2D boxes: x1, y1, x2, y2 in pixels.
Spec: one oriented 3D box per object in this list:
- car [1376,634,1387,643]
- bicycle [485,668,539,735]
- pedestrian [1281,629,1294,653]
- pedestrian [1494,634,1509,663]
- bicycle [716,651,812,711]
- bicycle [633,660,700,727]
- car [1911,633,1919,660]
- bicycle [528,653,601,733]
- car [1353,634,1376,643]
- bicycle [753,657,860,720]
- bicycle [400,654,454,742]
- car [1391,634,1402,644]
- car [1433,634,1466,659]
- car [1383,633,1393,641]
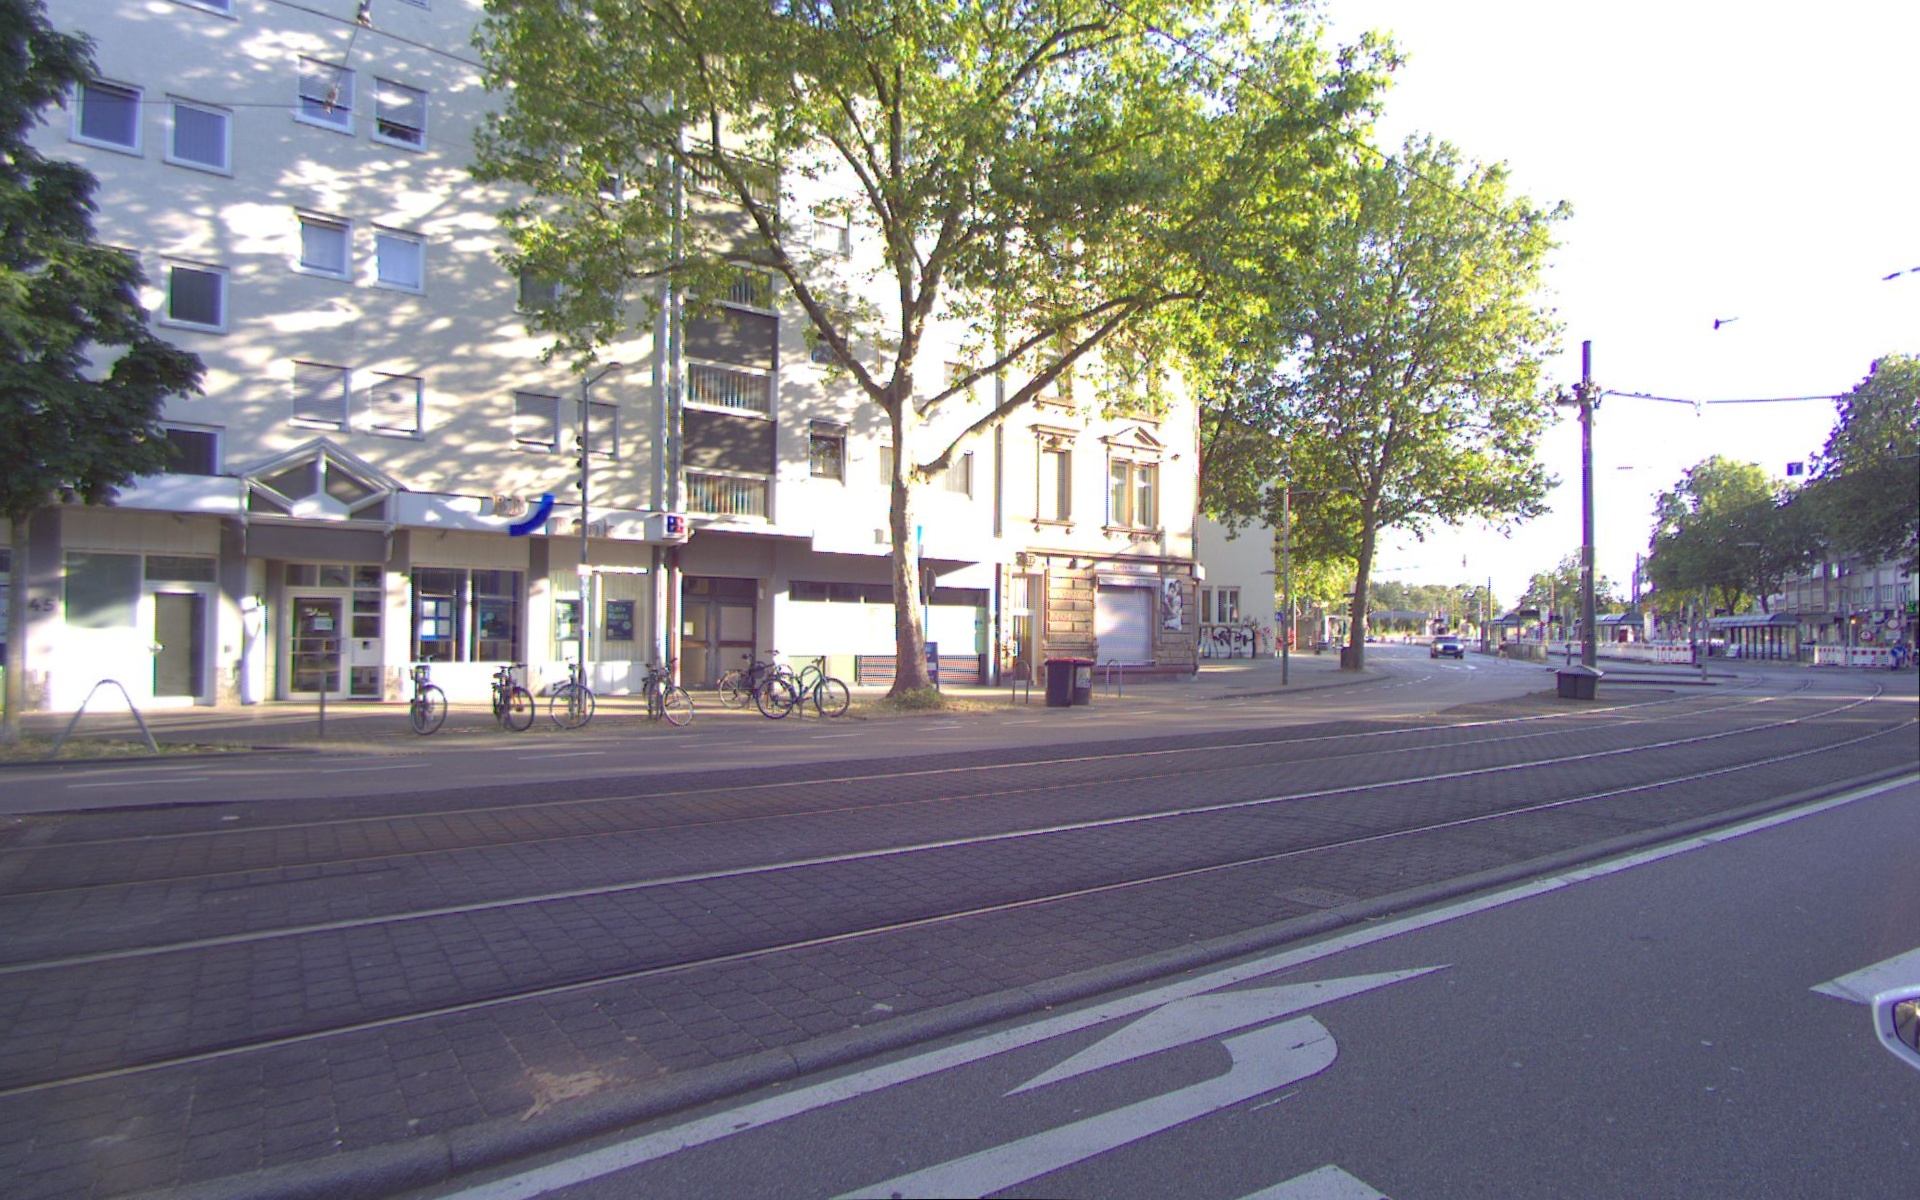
[{"bbox_3d":[79.451,7.232,189.322,1.814,1.706,3.716,0,-2,23],"label":"car"},{"bbox_3d":[-6.976,1.552,15.600,0.467,0.900,1.729,2,-1,-34],"label":"bicycle"},{"bbox_3d":[20.434,2.560,62.622,0.599,1.533,0.493,0,-1,-6],"label":"pedestrian"},{"bbox_3d":[31.222,2.789,57.919,0.645,1.678,0.444,0,-2,18],"label":"pedestrian"},{"bbox_3d":[-3.898,1.598,20.006,1.777,1.132,0.617,2,-2,-29],"label":"bicycle"},{"bbox_3d":[-5.034,1.573,17.159,0.584,1.002,1.729,2,-1,-34],"label":"bicycle"},{"bbox_3d":[64.516,3.114,65.620,1.960,1.815,4.000,2,-1,20],"label":"car"},{"bbox_3d":[-6.349,1.453,16.075,0.724,1.128,1.729,2,-1,-34],"label":"bicycle"},{"bbox_3d":[78.238,7.412,194.276,3.919,1.661,1.792,0,-2,13],"label":"car"},{"bbox_3d":[-2.765,1.578,18.176,1.800,1.091,0.649,2,-2,-29],"label":"bicycle"},{"bbox_3d":[-7.833,1.404,14.744,0.506,1.153,1.729,2,-1,-34],"label":"bicycle"},{"bbox_3d":[78.772,7.066,181.339,1.814,1.706,3.715,-2,-2,23],"label":"car"},{"bbox_3d":[32.977,3.117,67.698,1.962,1.661,3.997,0,-2,25],"label":"car"},{"bbox_3d":[89.569,7.782,210.271,1.814,1.706,3.716,0,-2,23],"label":"car"}]
